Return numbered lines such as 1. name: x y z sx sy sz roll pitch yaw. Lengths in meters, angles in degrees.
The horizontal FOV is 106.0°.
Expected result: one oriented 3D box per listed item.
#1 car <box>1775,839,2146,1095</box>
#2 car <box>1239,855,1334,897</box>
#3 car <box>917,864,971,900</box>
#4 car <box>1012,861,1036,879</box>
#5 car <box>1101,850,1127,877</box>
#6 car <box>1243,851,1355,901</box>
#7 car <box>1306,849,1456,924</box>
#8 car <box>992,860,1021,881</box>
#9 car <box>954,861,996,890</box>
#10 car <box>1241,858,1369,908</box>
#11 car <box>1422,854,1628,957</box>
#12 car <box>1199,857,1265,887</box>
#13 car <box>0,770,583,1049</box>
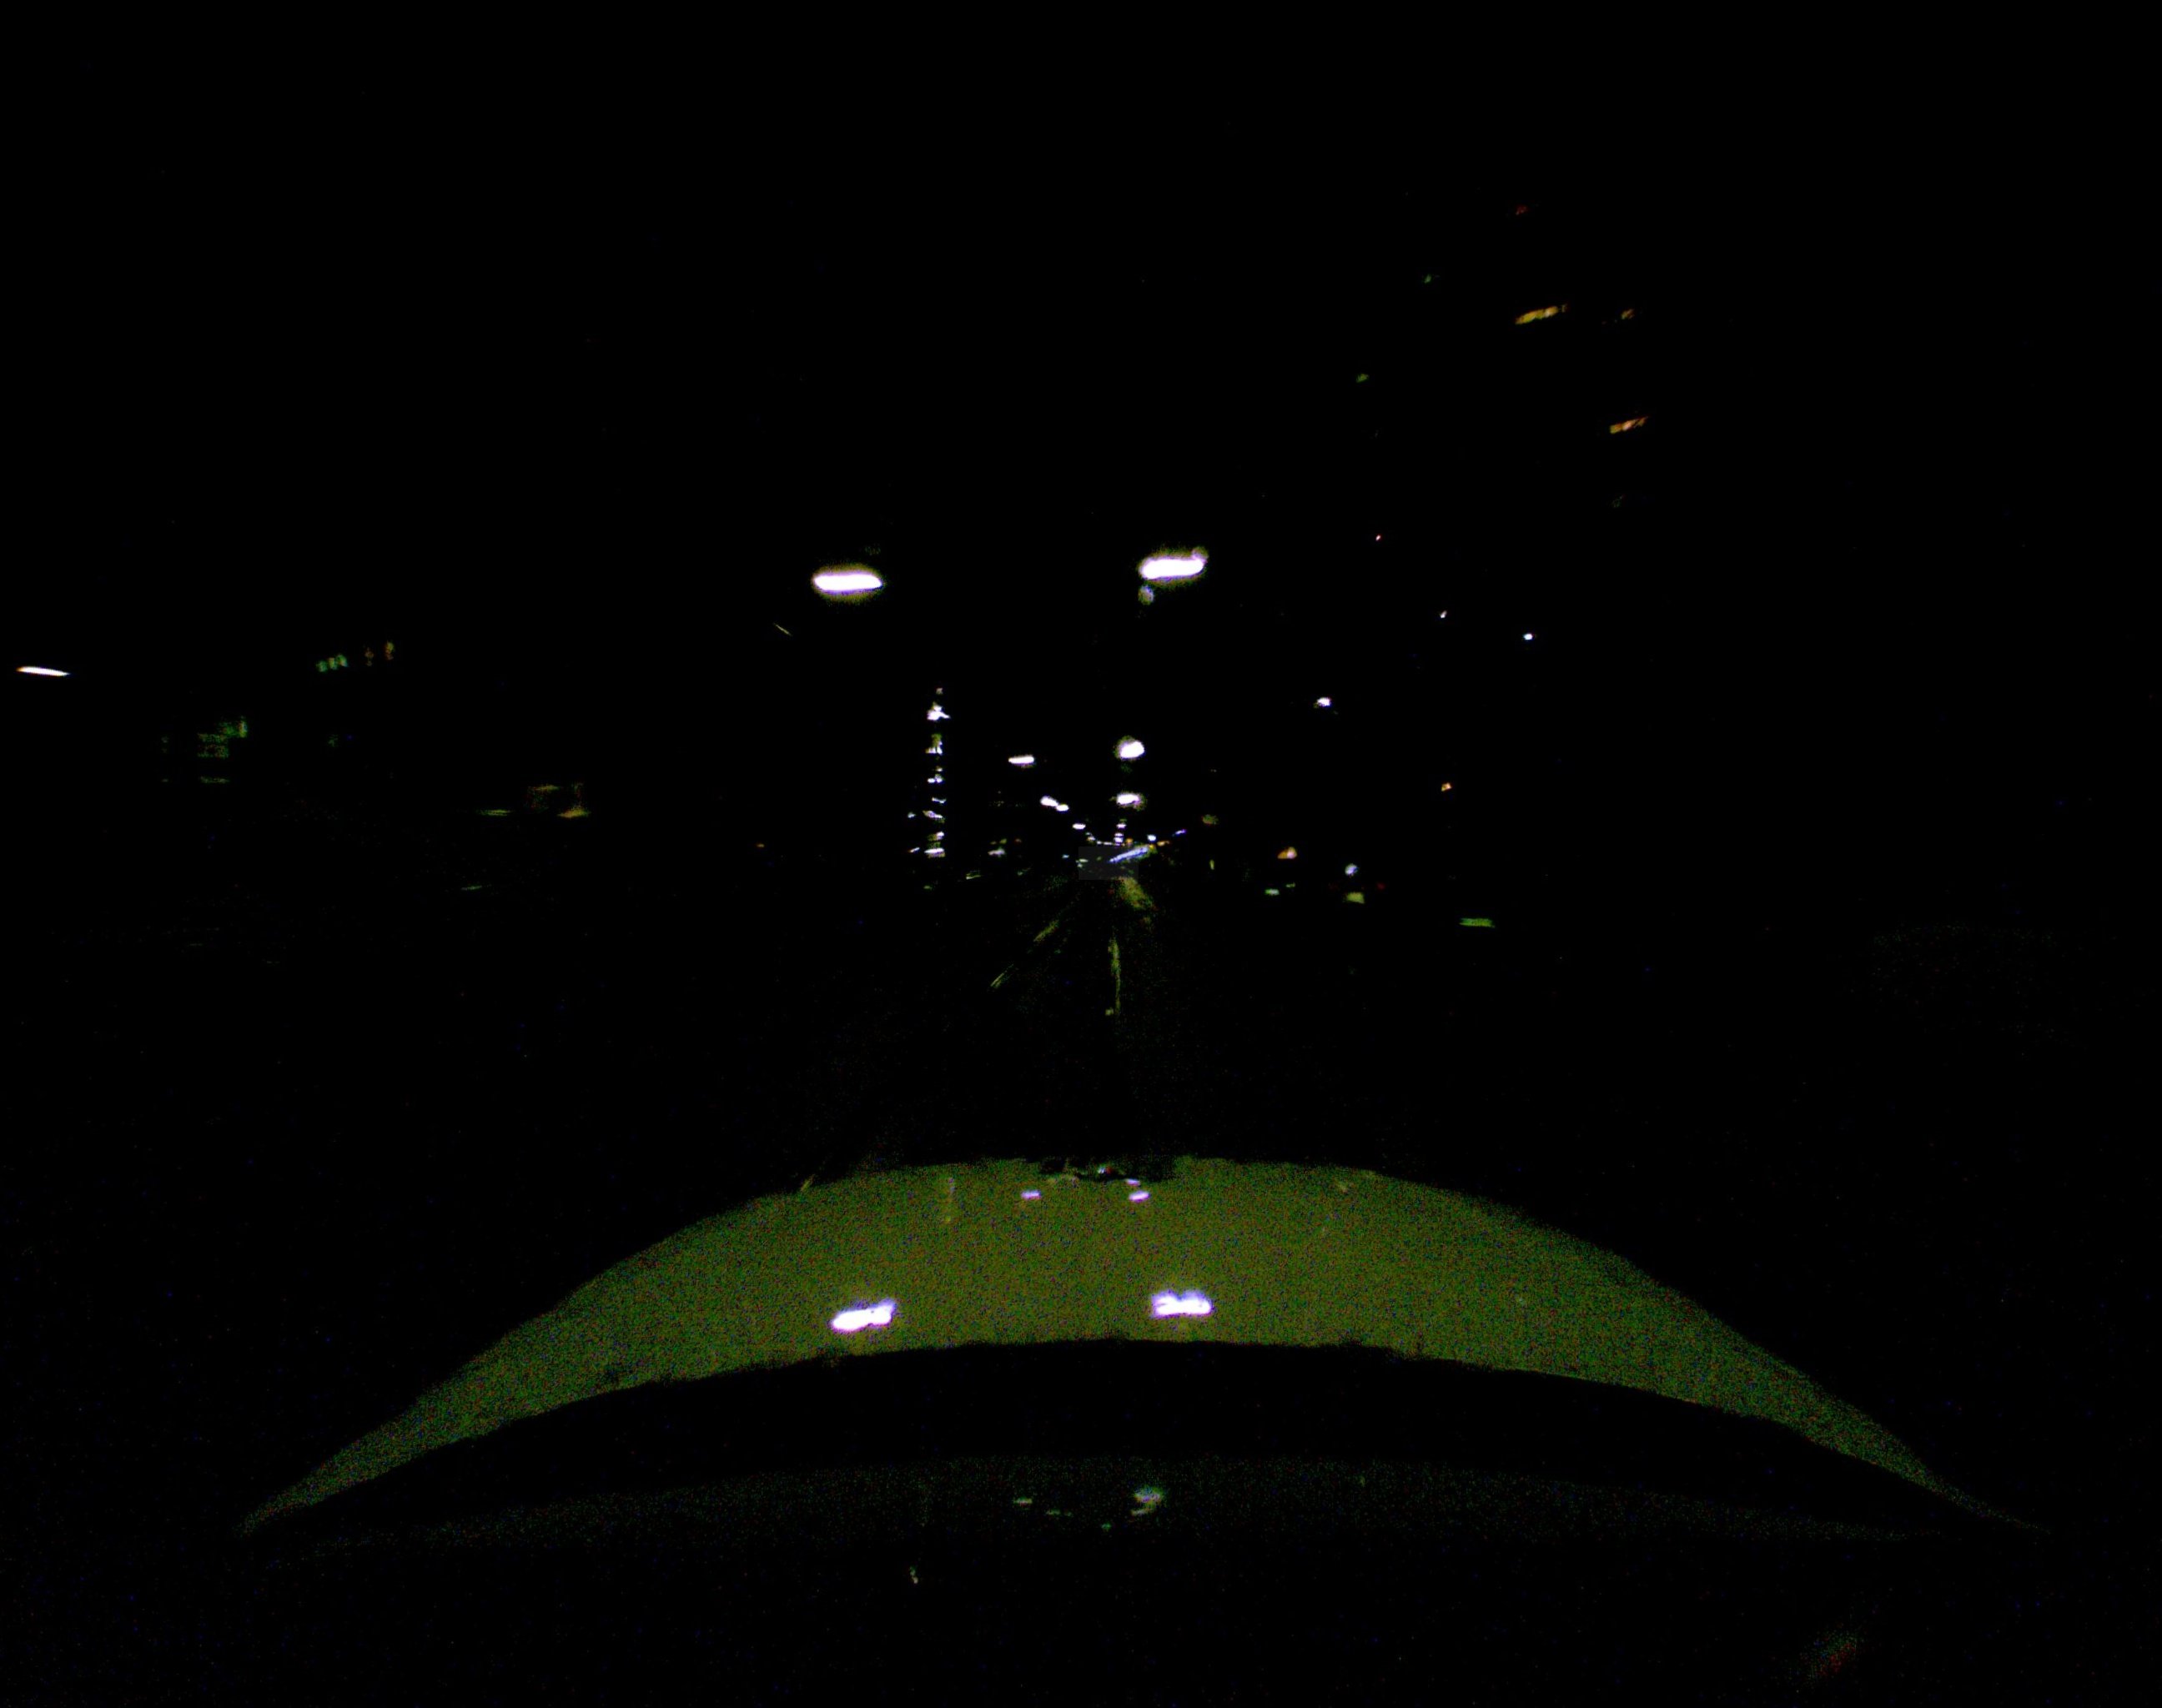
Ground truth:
1. car: 7.109 0.697 6.855 1.682 1.533 3.774 1 0 44
2. car: 8.305 0.853 32.732 3.984 1.572 1.887 1 -1 -44
3. car: -7.325 1.472 44.071 2.102 1.765 4.963 1 -1 0
4. car: -5.858 1.647 83.667 2.015 1.761 4.001 1 -1 1
5. car: 3.049 0.912 76.675 2.209 2.442 5.384 0 0 0
6. car: 7.958 0.769 29.578 4.272 1.698 2.005 1 -1 -44
7. car: 7.299 0.727 19.647 2.030 1.623 3.851 0 -1 44
8. car: -6.616 1.447 72.521 2.015 1.761 4.001 1 -1 1
9. car: -6.807 1.381 52.553 1.992 1.785 4.001 1 -1 2
10. car: 7.123 0.870 25.705 4.271 1.454 1.928 1 -1 -42
11. car: 7.227 0.715 13.107 3.848 1.430 1.618 0 0 -40
12. car: 8.413 0.985 45.159 1.886 1.572 3.986 0 -1 41
13. car: -8.980 0.504 10.179 2.018 2.499 5.606 1 0 0
